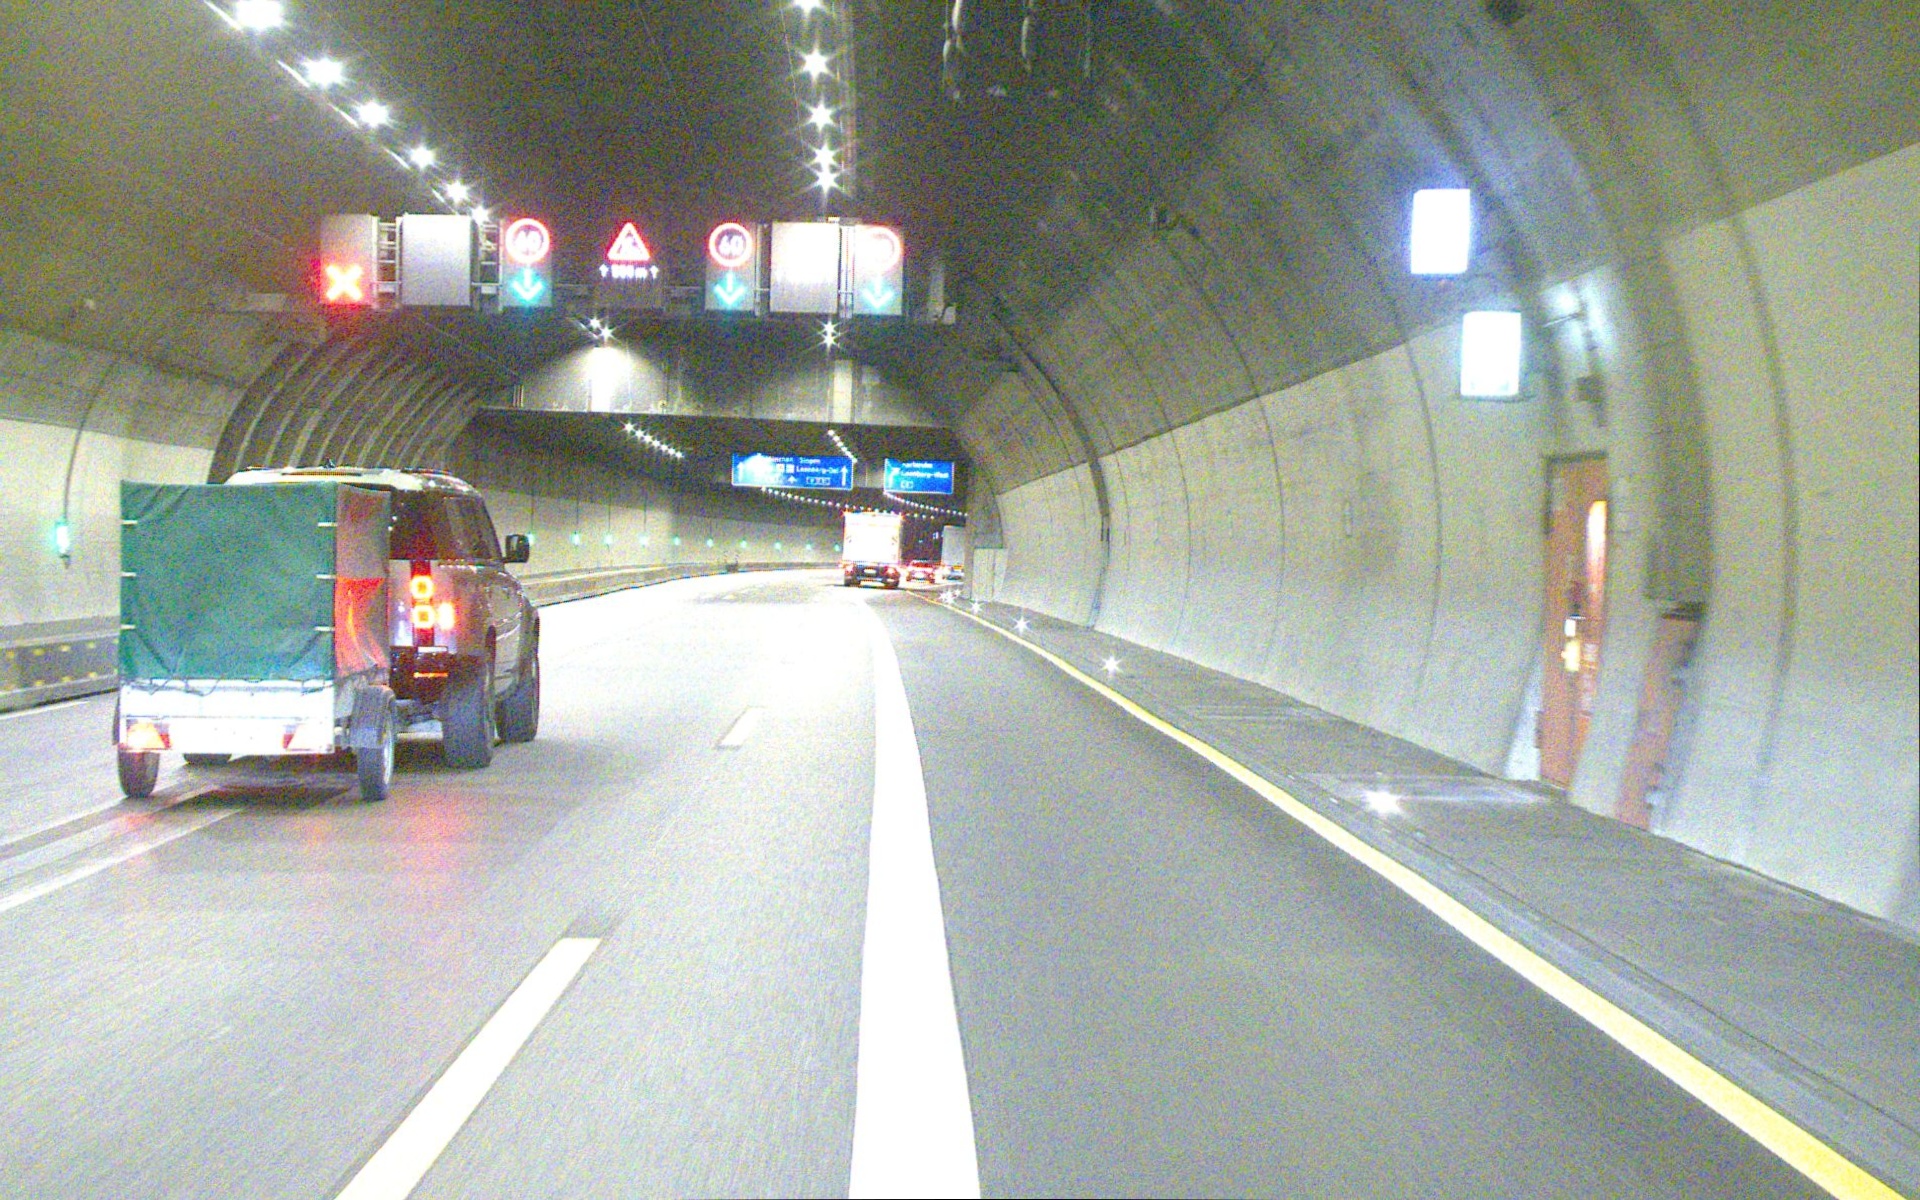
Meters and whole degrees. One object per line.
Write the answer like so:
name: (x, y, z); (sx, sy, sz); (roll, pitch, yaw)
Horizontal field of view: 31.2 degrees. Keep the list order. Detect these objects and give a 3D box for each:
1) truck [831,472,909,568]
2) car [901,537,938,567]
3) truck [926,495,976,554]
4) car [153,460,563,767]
truck: (-4.307, -3.795, 161.827); (3.474, 4.301, 10.953); (1, 2, -2)
car: (-2.629, -3.136, 222.249); (1.994, 1.888, 5.532); (0, 1, 3)
truck: (-0.725, -5.754, 261.048); (3.474, 4.301, 10.953); (-1, 1, -2)
car: (-4.029, 0.022, 23.930); (1.993, 1.888, 5.454); (0, 1, -1)
